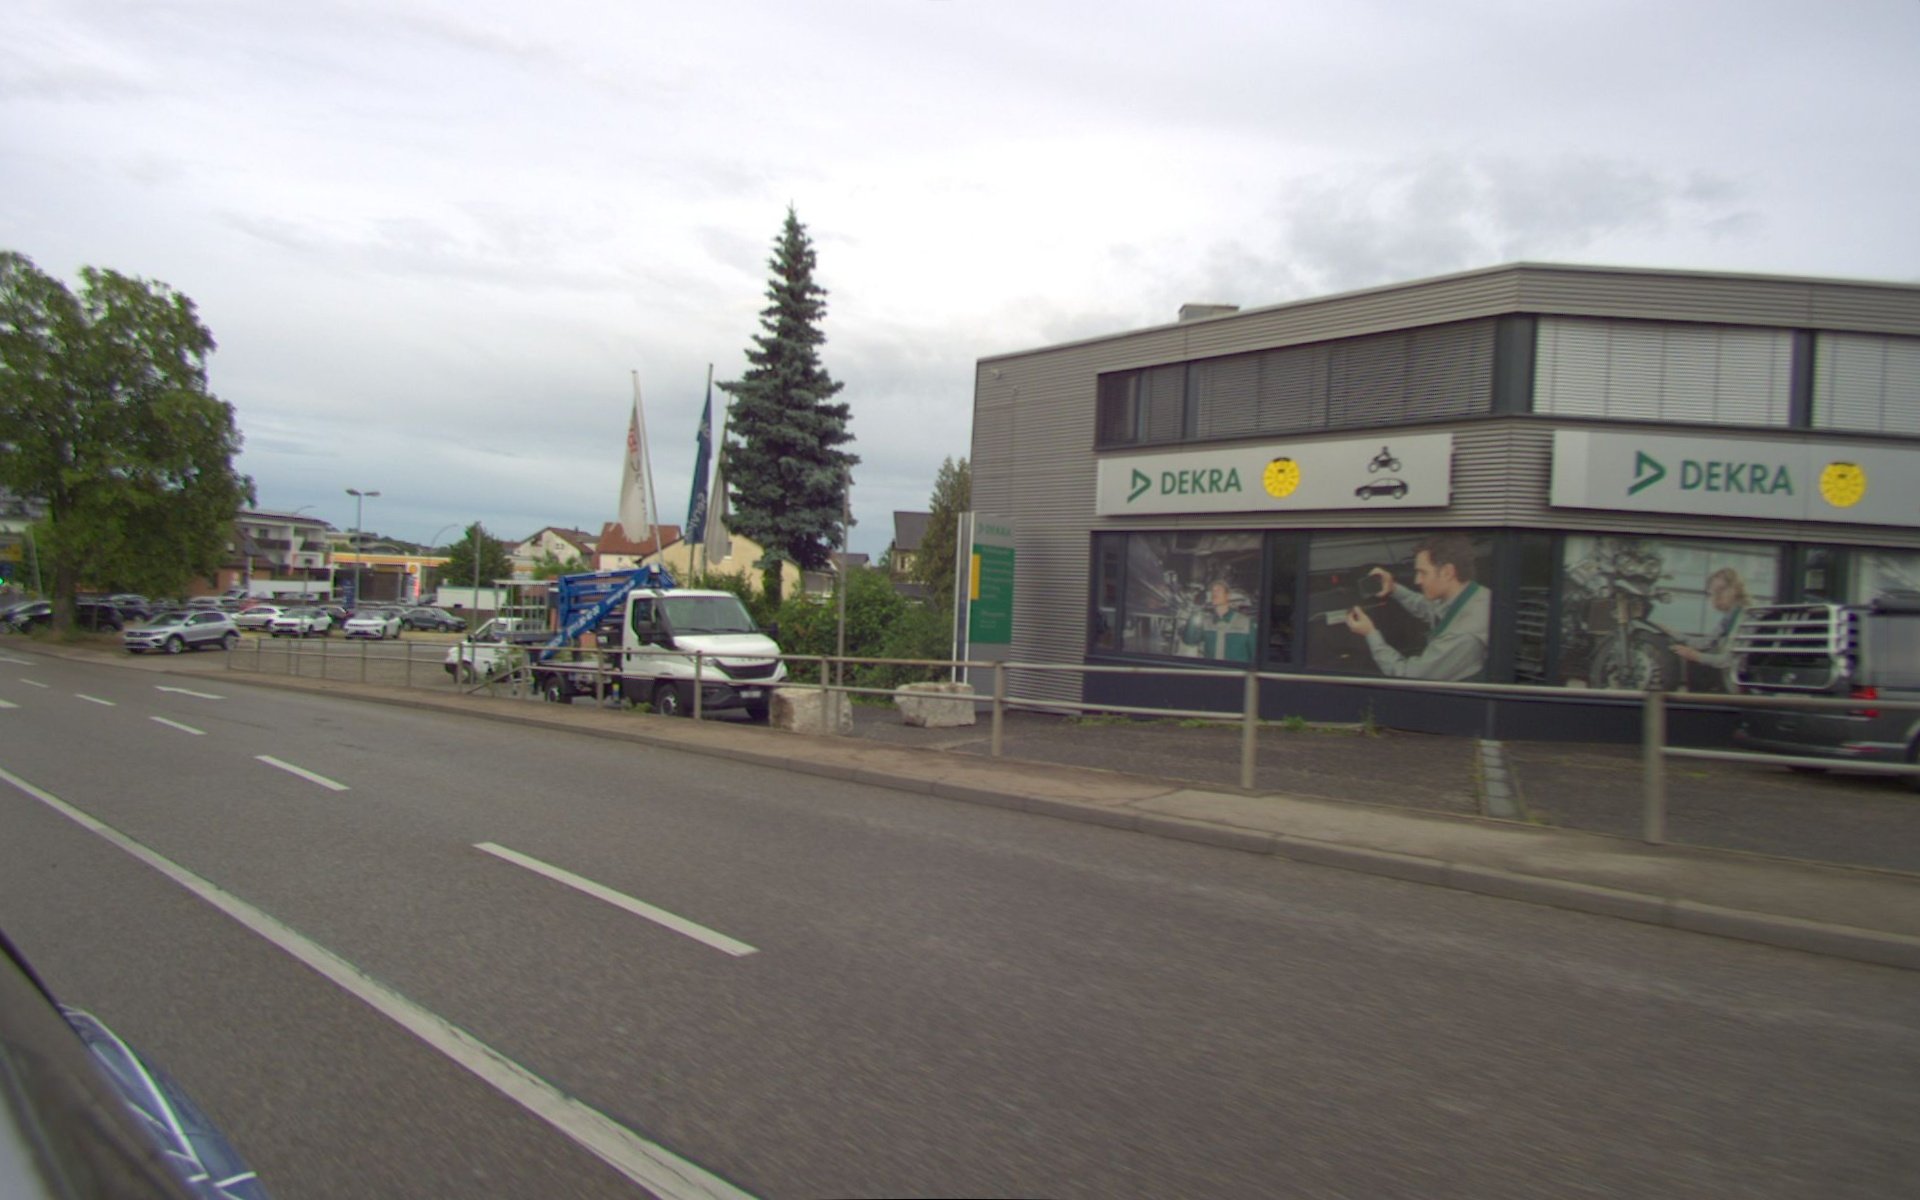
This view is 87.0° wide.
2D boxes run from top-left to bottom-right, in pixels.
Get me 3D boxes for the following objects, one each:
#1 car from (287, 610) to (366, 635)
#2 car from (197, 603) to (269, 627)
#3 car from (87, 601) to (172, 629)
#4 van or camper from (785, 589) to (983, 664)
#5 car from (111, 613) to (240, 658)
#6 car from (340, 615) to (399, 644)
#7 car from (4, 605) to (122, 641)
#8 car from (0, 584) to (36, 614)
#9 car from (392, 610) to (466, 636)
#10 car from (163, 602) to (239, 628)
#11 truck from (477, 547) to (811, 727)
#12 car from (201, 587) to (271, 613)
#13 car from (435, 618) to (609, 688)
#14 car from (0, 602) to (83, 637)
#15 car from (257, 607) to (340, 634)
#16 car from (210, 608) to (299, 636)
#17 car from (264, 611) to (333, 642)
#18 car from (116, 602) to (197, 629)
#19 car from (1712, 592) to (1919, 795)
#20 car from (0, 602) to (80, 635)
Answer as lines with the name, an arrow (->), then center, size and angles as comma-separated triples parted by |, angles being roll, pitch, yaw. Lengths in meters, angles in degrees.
car -> -40.743, 1.439, 65.091 | 3.992, 1.463, 1.788 | 2, -1, 4
car -> -50.699, 1.056, 70.606 | 3.717, 1.562, 1.595 | 2, -1, -5
car -> -50.309, 0.913, 61.356 | 3.717, 1.562, 1.595 | 2, -1, -5
van or camper -> -3.069, 1.049, 42.172 | 8.006, 2.916, 2.477 | 0, 3, 1
car -> -30.439, 1.338, 39.436 | 1.699, 1.582, 4.001 | 1, 0, 6
car -> -32.120, 1.584, 55.147 | 1.798, 1.426, 4.021 | 2, -1, -16
car -> -41.786, 1.102, 47.189 | 1.670, 1.579, 3.846 | 1, -2, 38
car -> -75.597, -0.138, 79.666 | 4.170, 2.120, 1.768 | 4, 0, 5
car -> -35.036, 1.533, 66.829 | 3.997, 1.566, 1.786 | 2, -1, 8
car -> -50.576, 1.015, 67.481 | 3.717, 1.562, 1.595 | 2, -1, -5
truck -> -6.030, 0.607, 18.329 | 7.890, 2.653, 1.972 | 0, -3, 42
car -> -63.196, 0.038, 88.485 | 2.027, 2.102, 5.248 | 2, -2, 4
car -> -12.779, 1.508, 29.654 | 4.234, 1.885, 2.058 | 1, -2, 9
car -> -44.430, 0.939, 48.272 | 1.672, 1.579, 3.717 | 0, -2, 41
car -> -40.706, 1.262, 62.317 | 3.992, 1.463, 1.788 | 2, -1, 4
car -> -41.209, 1.294, 59.142 | 3.992, 1.463, 1.788 | 2, -1, 4
car -> -35.505, 1.394, 54.426 | 1.761, 1.521, 4.054 | 2, -1, -13
car -> -50.855, 1.004, 64.070 | 3.717, 1.562, 1.595 | 2, -1, -5
car -> 11.351, 0.975, 11.003 | 4.808, 2.002, 2.000 | 1, -1, 0
car -> -47.583, 0.936, 51.519 | 4.093, 1.521, 1.676 | 3, -1, -39
